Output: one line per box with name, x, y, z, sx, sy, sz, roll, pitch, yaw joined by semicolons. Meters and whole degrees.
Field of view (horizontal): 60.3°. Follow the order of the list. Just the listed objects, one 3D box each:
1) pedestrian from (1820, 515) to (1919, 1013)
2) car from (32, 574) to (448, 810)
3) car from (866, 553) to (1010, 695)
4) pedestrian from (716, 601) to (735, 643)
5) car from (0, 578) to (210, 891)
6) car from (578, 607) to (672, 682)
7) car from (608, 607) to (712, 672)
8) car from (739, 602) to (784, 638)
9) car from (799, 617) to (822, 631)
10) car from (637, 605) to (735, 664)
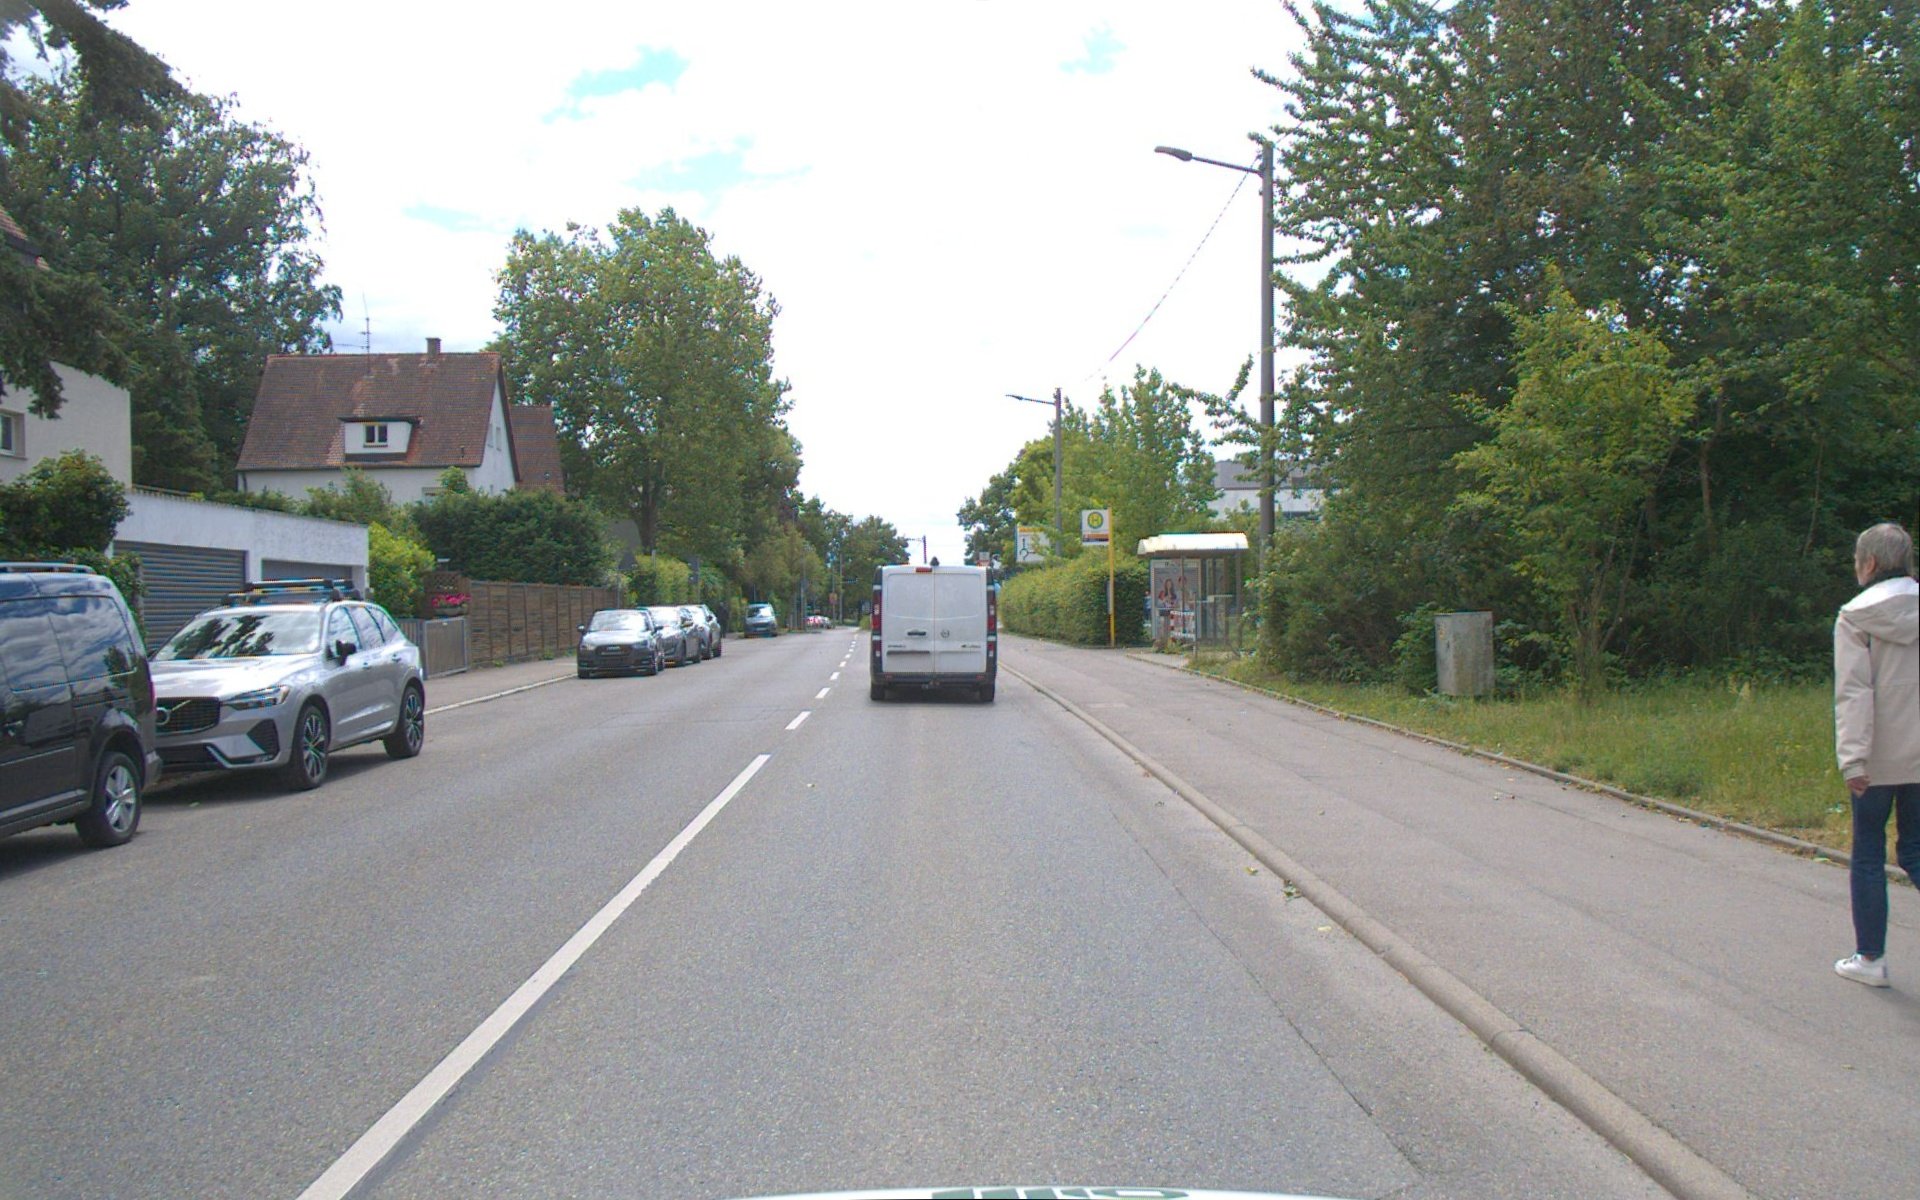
pedestrian;3.594;0.558;5.944;0.671;1.688;0.690;0;0;3
car;-6.518;0.720;15.663;1.945;1.850;4.706;-1;0;-2
car;-0.378;0.335;25.549;1.993;1.979;4.992;0;0;-2
pedestrian;-11.754;1.081;82.854;0.855;2.049;1.039;-2;0;-7
car;-6.490;0.761;9.784;2.025;1.785;4.881;0;0;-2
car;-7.369;0.938;36.676;1.619;1.452;3.900;-2;1;-6
car;-7.495;0.950;41.650;1.829;1.484;4.488;-1;0;-1
car;-10.346;1.020;85.836;2.093;1.803;4.454;0;0;-10
car;-15.840;2.537;175.152;2.027;1.410;4.035;-1;0;-12
car;-7.725;0.949;47.110;1.953;1.505;4.646;-2;0;0
